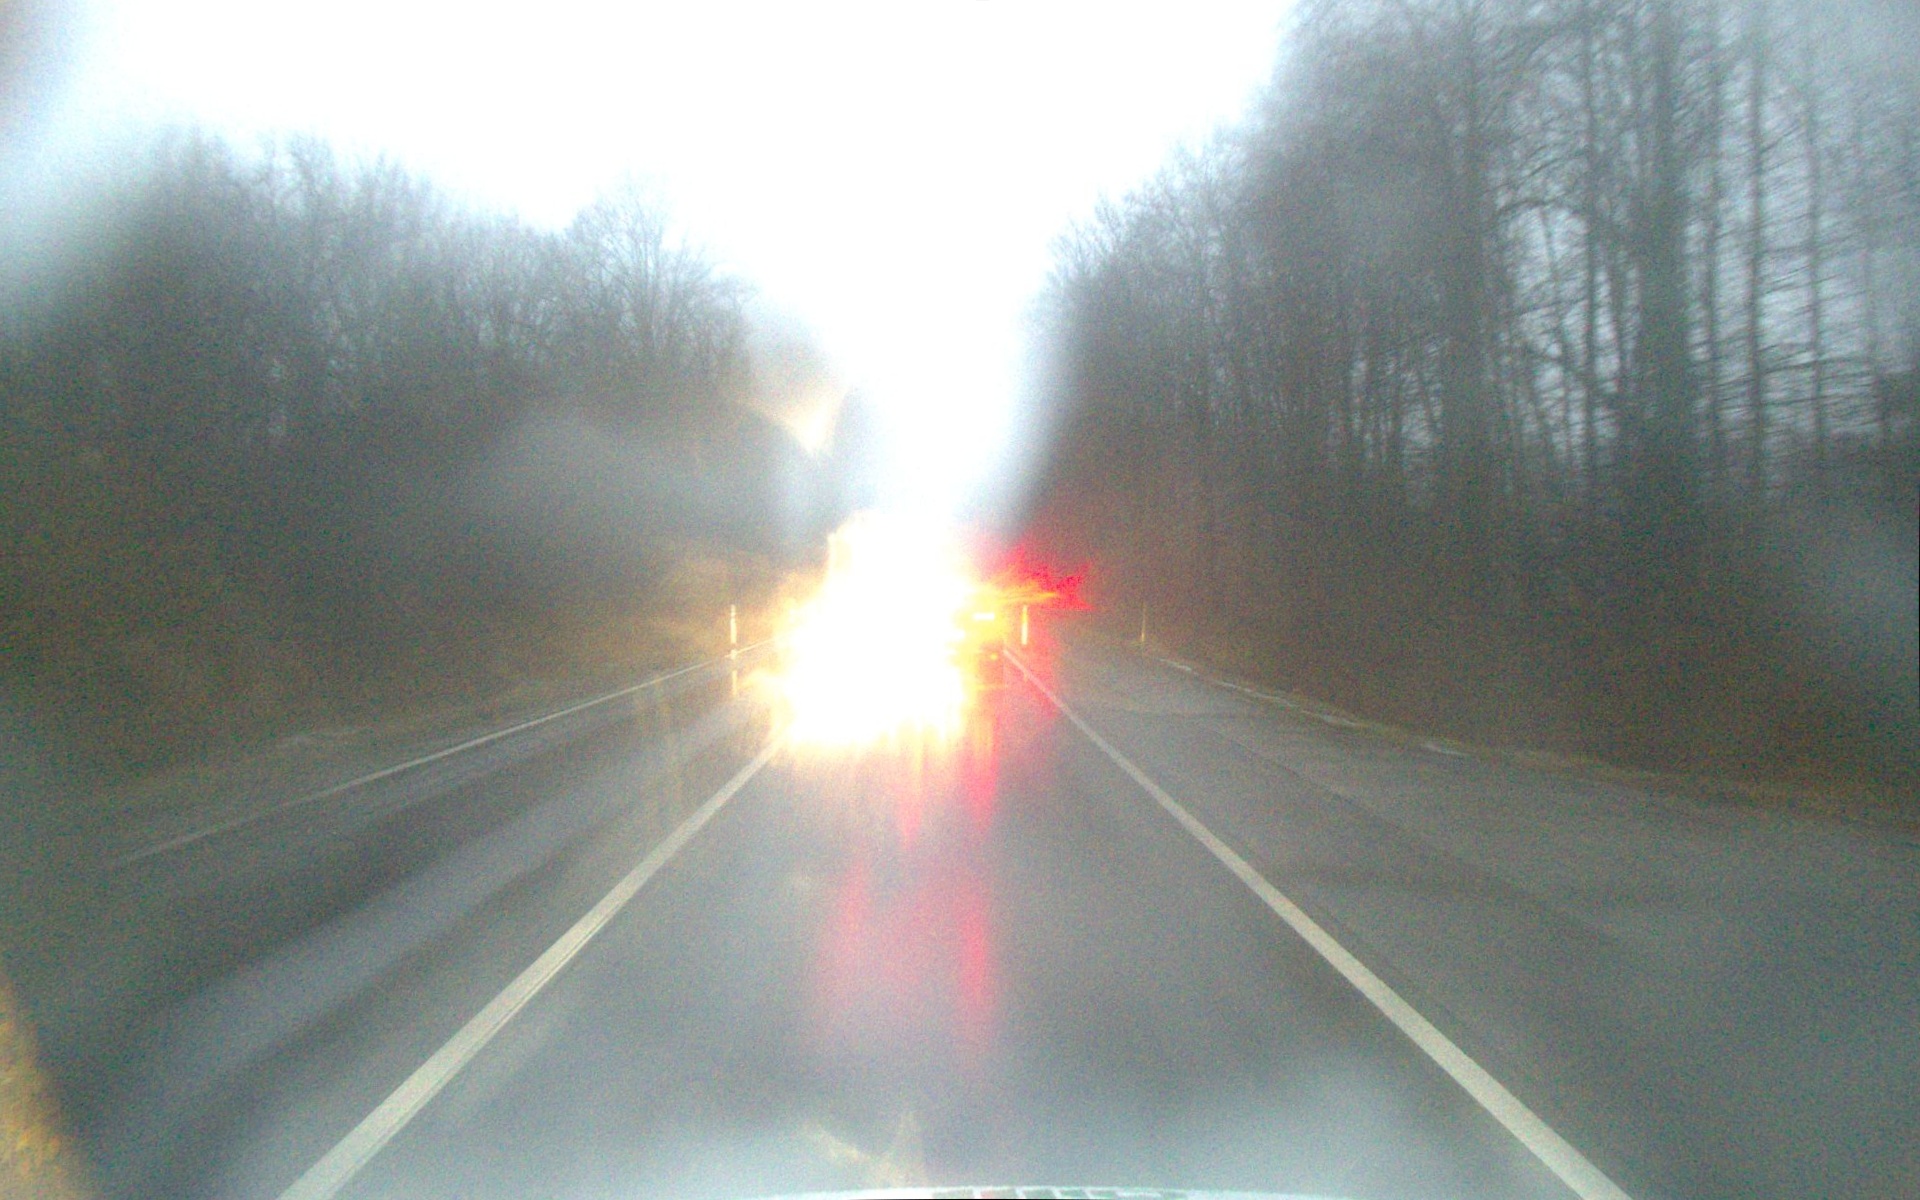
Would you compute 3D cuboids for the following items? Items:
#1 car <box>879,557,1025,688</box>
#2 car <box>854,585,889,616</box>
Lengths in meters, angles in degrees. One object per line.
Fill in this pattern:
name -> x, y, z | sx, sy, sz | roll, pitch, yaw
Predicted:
car -> -0.171, 0.314, 27.061 | 2.153, 1.910, 4.826 | 1, 1, -1
car -> -4.567, -0.006, 85.987 | 1.566, 1.522, 3.894 | -2, 0, 0
